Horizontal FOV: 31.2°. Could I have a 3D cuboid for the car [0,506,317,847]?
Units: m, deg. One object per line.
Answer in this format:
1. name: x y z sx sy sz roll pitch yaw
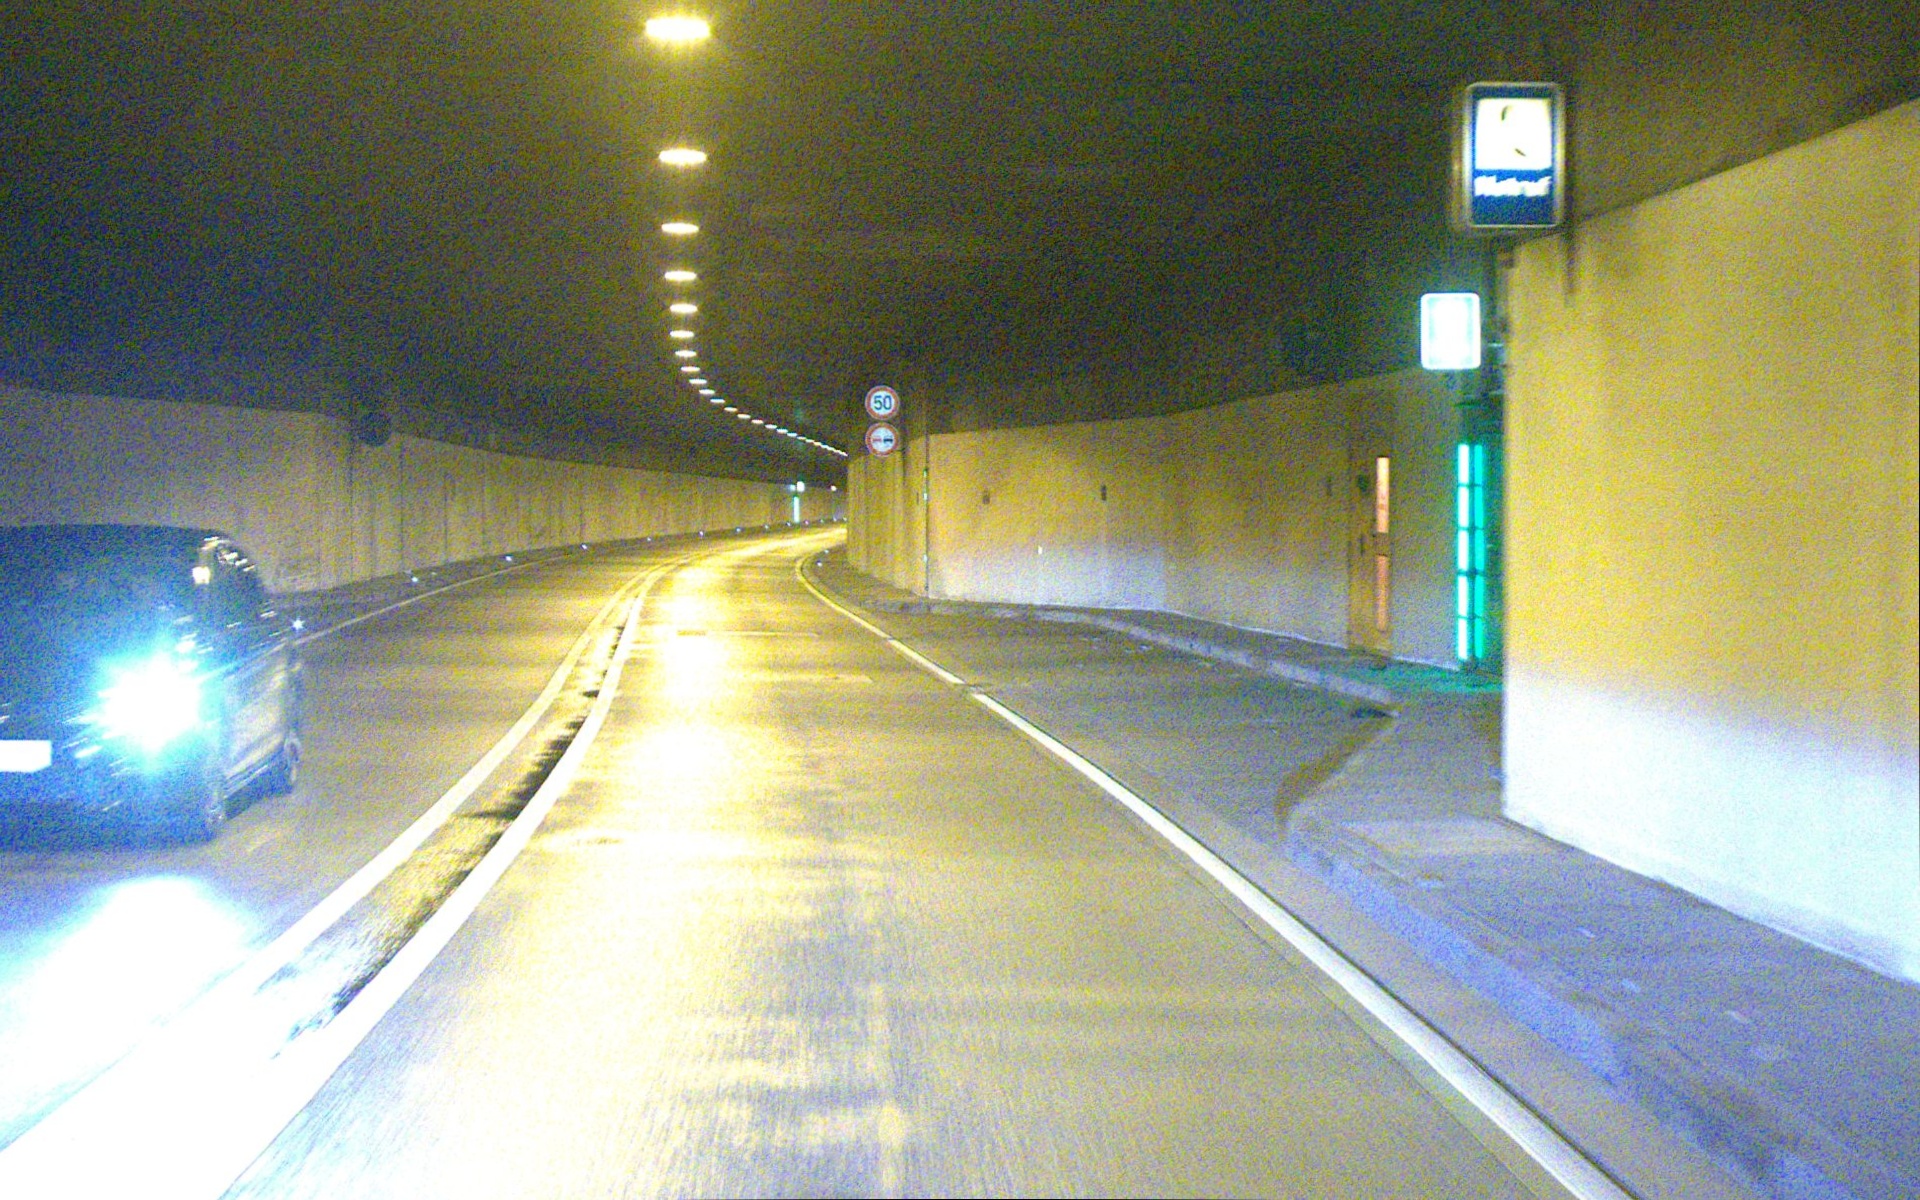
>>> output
1. car: -4.289 0.275 16.787 1.707 1.411 4.118 1 2 -3
